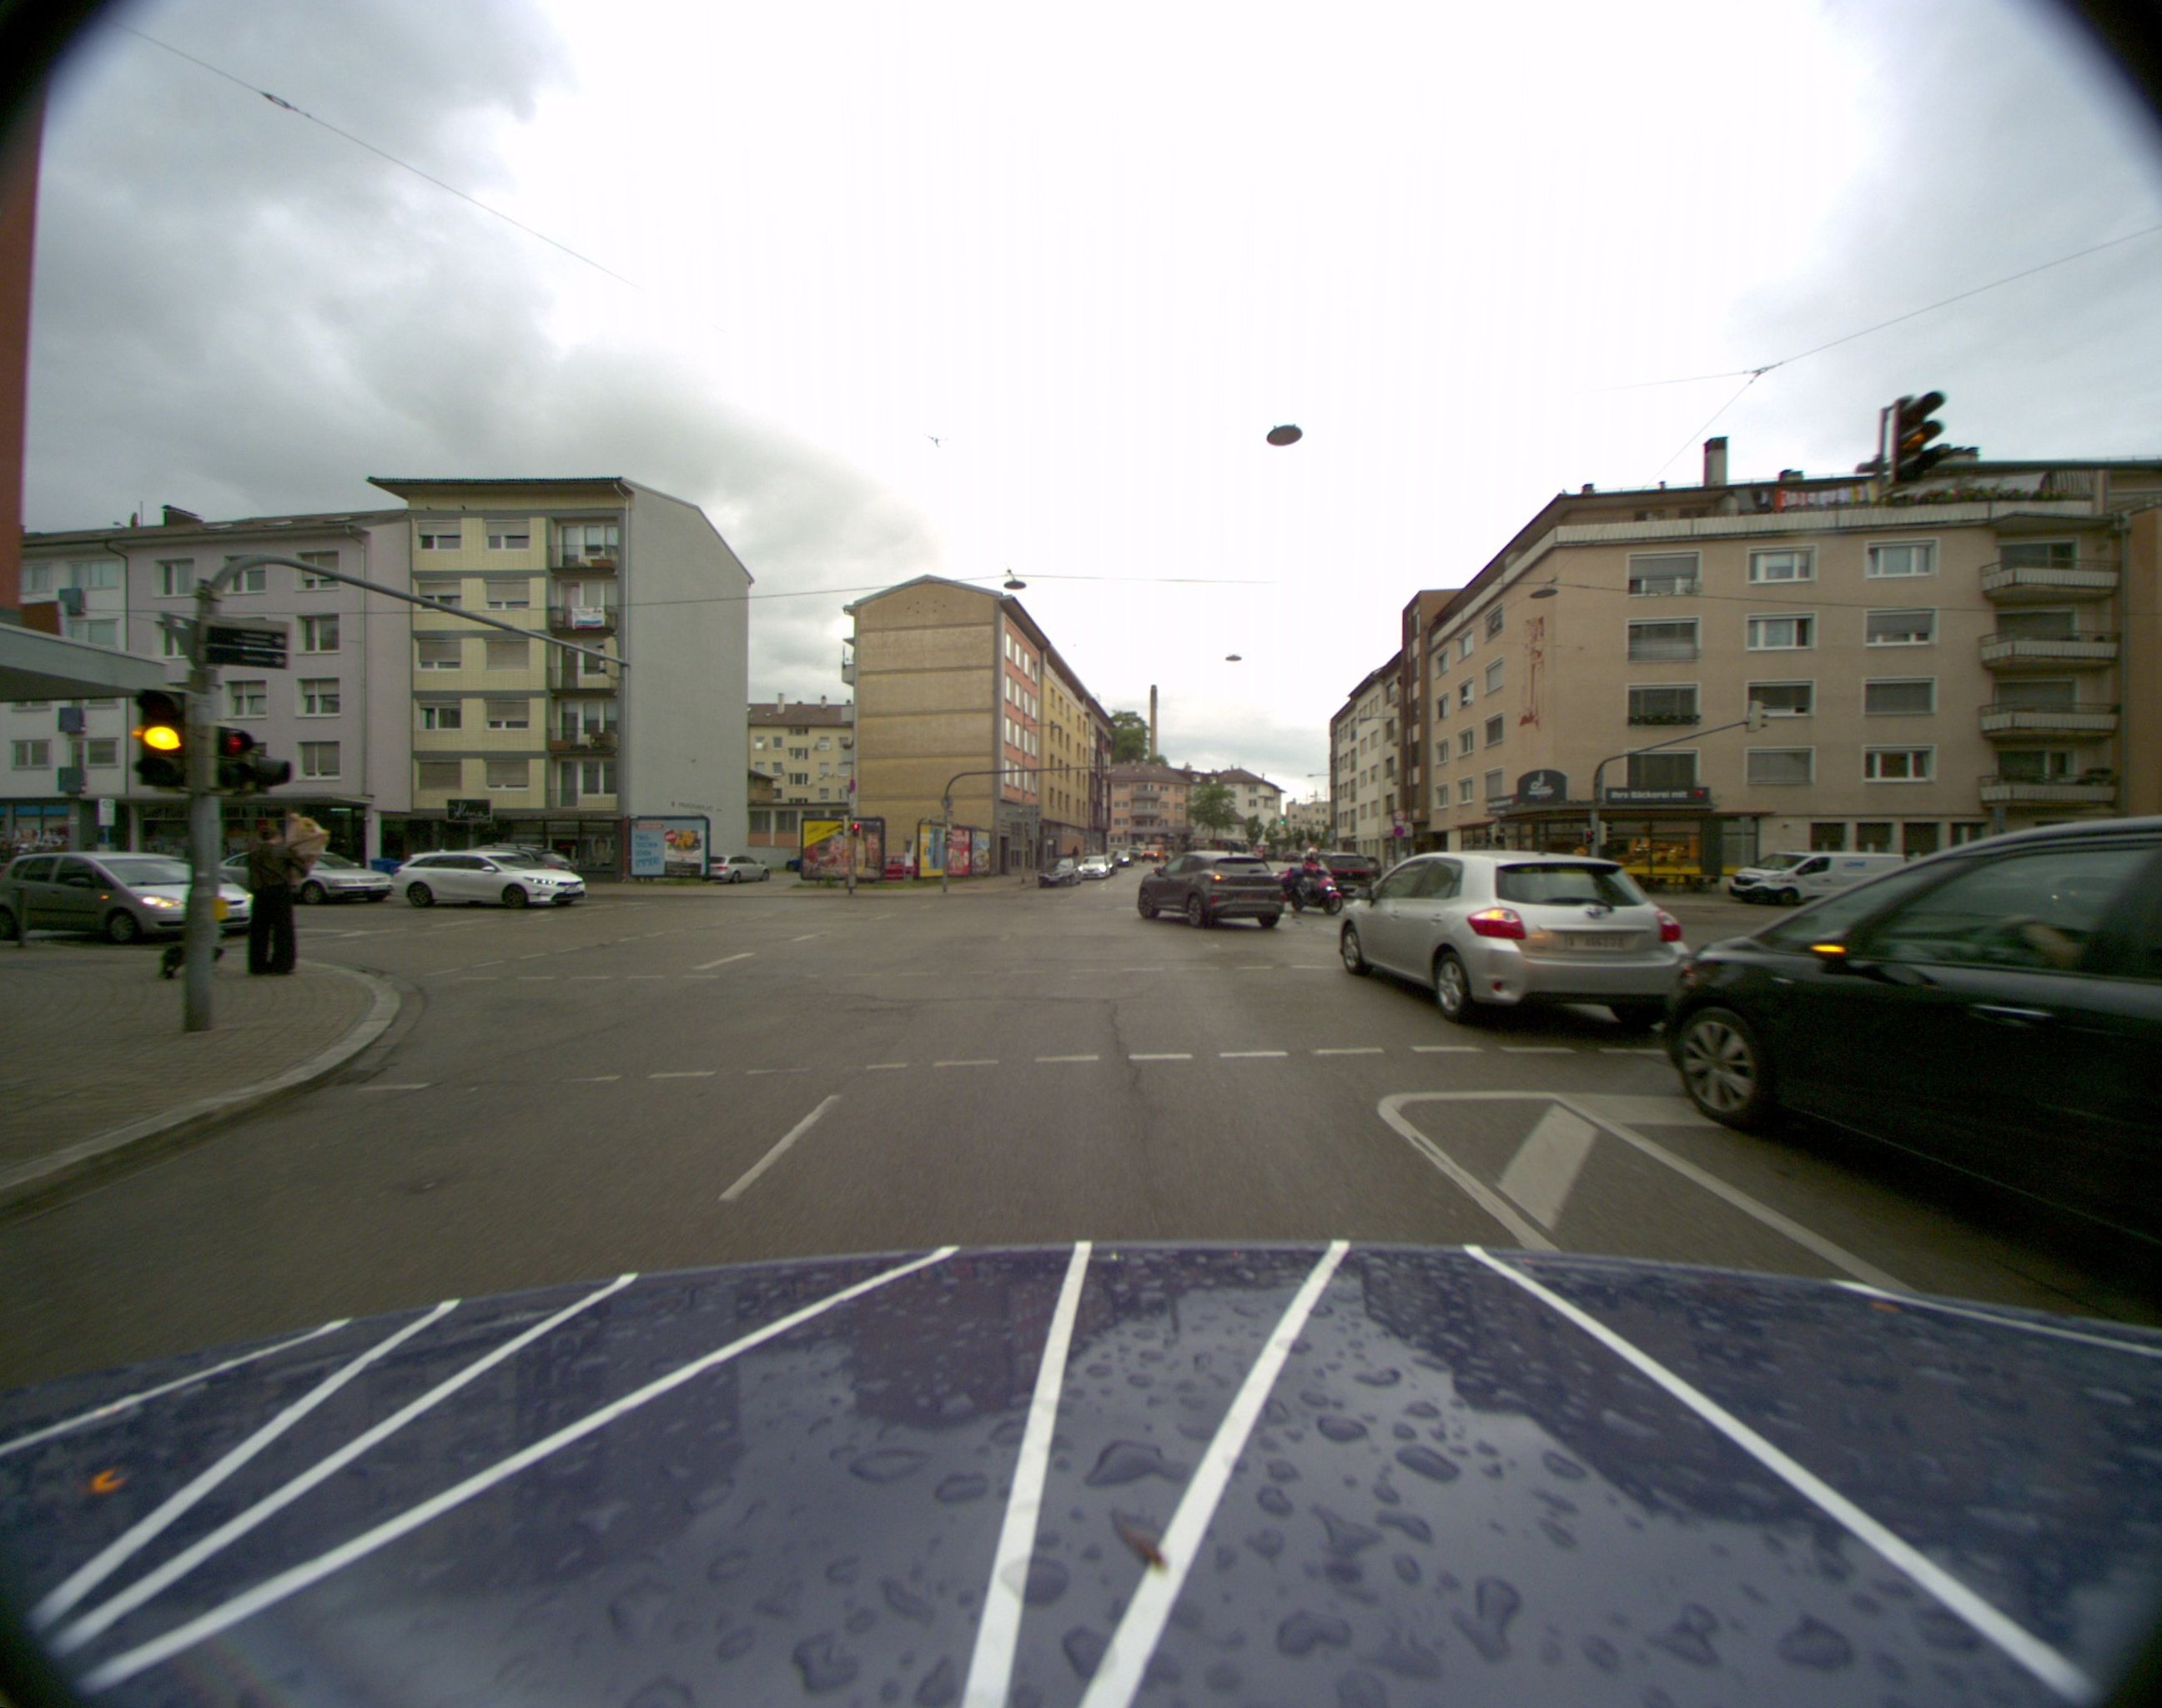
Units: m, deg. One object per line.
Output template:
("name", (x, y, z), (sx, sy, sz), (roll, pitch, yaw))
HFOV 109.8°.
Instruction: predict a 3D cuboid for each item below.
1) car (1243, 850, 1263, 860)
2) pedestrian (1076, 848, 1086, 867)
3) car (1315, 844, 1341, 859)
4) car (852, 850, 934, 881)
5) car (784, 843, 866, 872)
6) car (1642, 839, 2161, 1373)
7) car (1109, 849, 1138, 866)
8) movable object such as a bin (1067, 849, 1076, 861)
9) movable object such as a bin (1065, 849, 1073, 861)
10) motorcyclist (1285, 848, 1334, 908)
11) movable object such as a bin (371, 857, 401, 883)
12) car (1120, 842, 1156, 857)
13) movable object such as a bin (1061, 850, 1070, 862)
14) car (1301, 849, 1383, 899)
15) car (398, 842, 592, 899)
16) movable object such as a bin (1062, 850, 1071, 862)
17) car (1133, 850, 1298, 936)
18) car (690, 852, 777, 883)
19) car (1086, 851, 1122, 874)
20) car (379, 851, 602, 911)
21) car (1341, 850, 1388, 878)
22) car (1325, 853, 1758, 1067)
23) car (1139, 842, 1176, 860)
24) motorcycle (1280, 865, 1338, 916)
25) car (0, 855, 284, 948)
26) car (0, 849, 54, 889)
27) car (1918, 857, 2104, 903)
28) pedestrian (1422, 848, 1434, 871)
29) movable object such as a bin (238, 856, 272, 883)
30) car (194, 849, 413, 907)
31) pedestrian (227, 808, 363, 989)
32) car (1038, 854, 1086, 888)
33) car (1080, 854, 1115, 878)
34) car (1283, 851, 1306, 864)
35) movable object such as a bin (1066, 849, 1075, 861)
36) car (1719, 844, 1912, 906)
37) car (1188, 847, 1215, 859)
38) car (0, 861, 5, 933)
("car", (26.745, 0.155, 118.055), (1.810, 1.334, 4.007), (-2, 0, 29))
("pedestrian", (-0.014, 0.320, 69.757), (0.674, 1.777, 1.096), (0, 1, 11))
("car", (36.145, -0.391, 111.189), (2.120, 2.003, 5.138), (-2, 1, 36))
("car", (-9.569, 0.578, 38.859), (3.661, 1.542, 2.088), (0, 0, 1))
("car", (-16.505, 0.242, 48.946), (4.767, 1.679, 2.159), (-2, 0, 26))
("car", (4.181, 0.765, 2.367), (1.825, 1.599, 4.431), (0, 1, 5))
("car", (3.917, 0.286, 69.123), (1.809, 1.332, 4.282), (1, 2, 15))
("movable object such as a bin", (-0.870, 0.083, 70.426), (0.682, 1.070, 0.668), (0, 1, 8))
("movable object such as a bin", (-1.075, 0.120, 69.066), (0.682, 1.070, 0.668), (0, 1, 8))
("motorcyclist", (5.832, 0.598, 19.435), (0.917, 1.485, 0.864), (-1, 1, -8))
("movable object such as a bin", (-30.609, 0.708, 33.464), (0.640, 1.131, 0.698), (-2, 0, 7))
("car", (7.469, -0.607, 99.514), (2.004, 1.711, 4.783), (1, 2, -36))
("movable object such as a bin", (-1.390, 0.195, 67.022), (0.682, 1.070, 0.668), (0, 1, 8))
("car", (9.572, 0.673, 28.210), (1.825, 1.630, 4.374), (0, 1, 4))
("car", (-19.858, 0.590, 25.953), (4.898, 1.858, 2.027), (0, -2, -5))
("movable object such as a bin", (-1.275, 0.172, 67.715), (0.682, 1.070, 0.668), (0, 1, 8))
("car", (2.686, 0.713, 16.279), (1.863, 1.544, 4.220), (0, 1, -15))
("car", (-17.046, 0.630, 37.534), (1.878, 1.431, 4.333), (0, 0, 7))
("car", (1.720, 0.573, 54.791), (2.038, 1.380, 5.295), (1, 2, 7))
("car", (-15.777, 0.688, 20.438), (4.660, 1.477, 1.920), (0, 1, 5))
("car", (17.665, 0.570, 47.513), (1.911, 1.545, 4.633), (1, 1, 10))
("car", (4.109, 0.793, 7.766), (1.939, 1.518, 4.134), (0, 1, 1))
("car", (8.751, -0.363, 86.256), (2.194, 2.074, 5.944), (0, 1, 27))
("motorcycle", (5.805, 0.897, 19.493), (0.589, 1.184, 2.100), (-1, 1, -8))
("car", (-16.957, 0.783, 13.565), (3.954, 1.477, 1.703), (0, 1, 7))
("car", (-44.737, 0.581, 30.814), (4.121, 1.608, 1.992), (0, 0, 10))
("car", (34.271, 0.932, 28.093), (4.337, 1.547, 2.045), (0, 3, -1))
("pedestrian", (23.960, 0.367, 52.460), (0.544, 1.574, 0.669), (-1, 1, -5))
("movable object such as a bin", (-36.753, 0.697, 33.816), (0.705, 1.179, 0.698), (-2, 0, 7))
("car", (-21.448, 0.625, 21.047), (4.518, 1.477, 1.846), (0, 1, 7))
("pedestrian", (-9.761, 0.538, 9.469), (0.827, 2.145, 0.770), (-2, 0, 7))
("car", (-0.948, 0.837, 39.632), (1.787, 1.488, 4.058), (-2, 1, 8))
("car", (1.067, 0.722, 47.235), (1.679, 1.395, 4.002), (0, 0, 8))
("car", (29.471, 0.498, 104.845), (1.863, 1.638, 4.262), (2, 1, 32))
("movable object such as a bin", (-0.967, 0.118, 69.746), (0.682, 1.070, 0.668), (0, 1, 8))
("car", (26.880, 0.732, 27.958), (4.862, 2.091, 2.046), (0, 3, 3))
("car", (15.983, -0.102, 100.874), (1.839, 1.433, 4.008), (-2, 0, 38))
("car", (-23.387, 0.828, 14.325), (4.377, 1.417, 1.669), (0, 1, 7))
